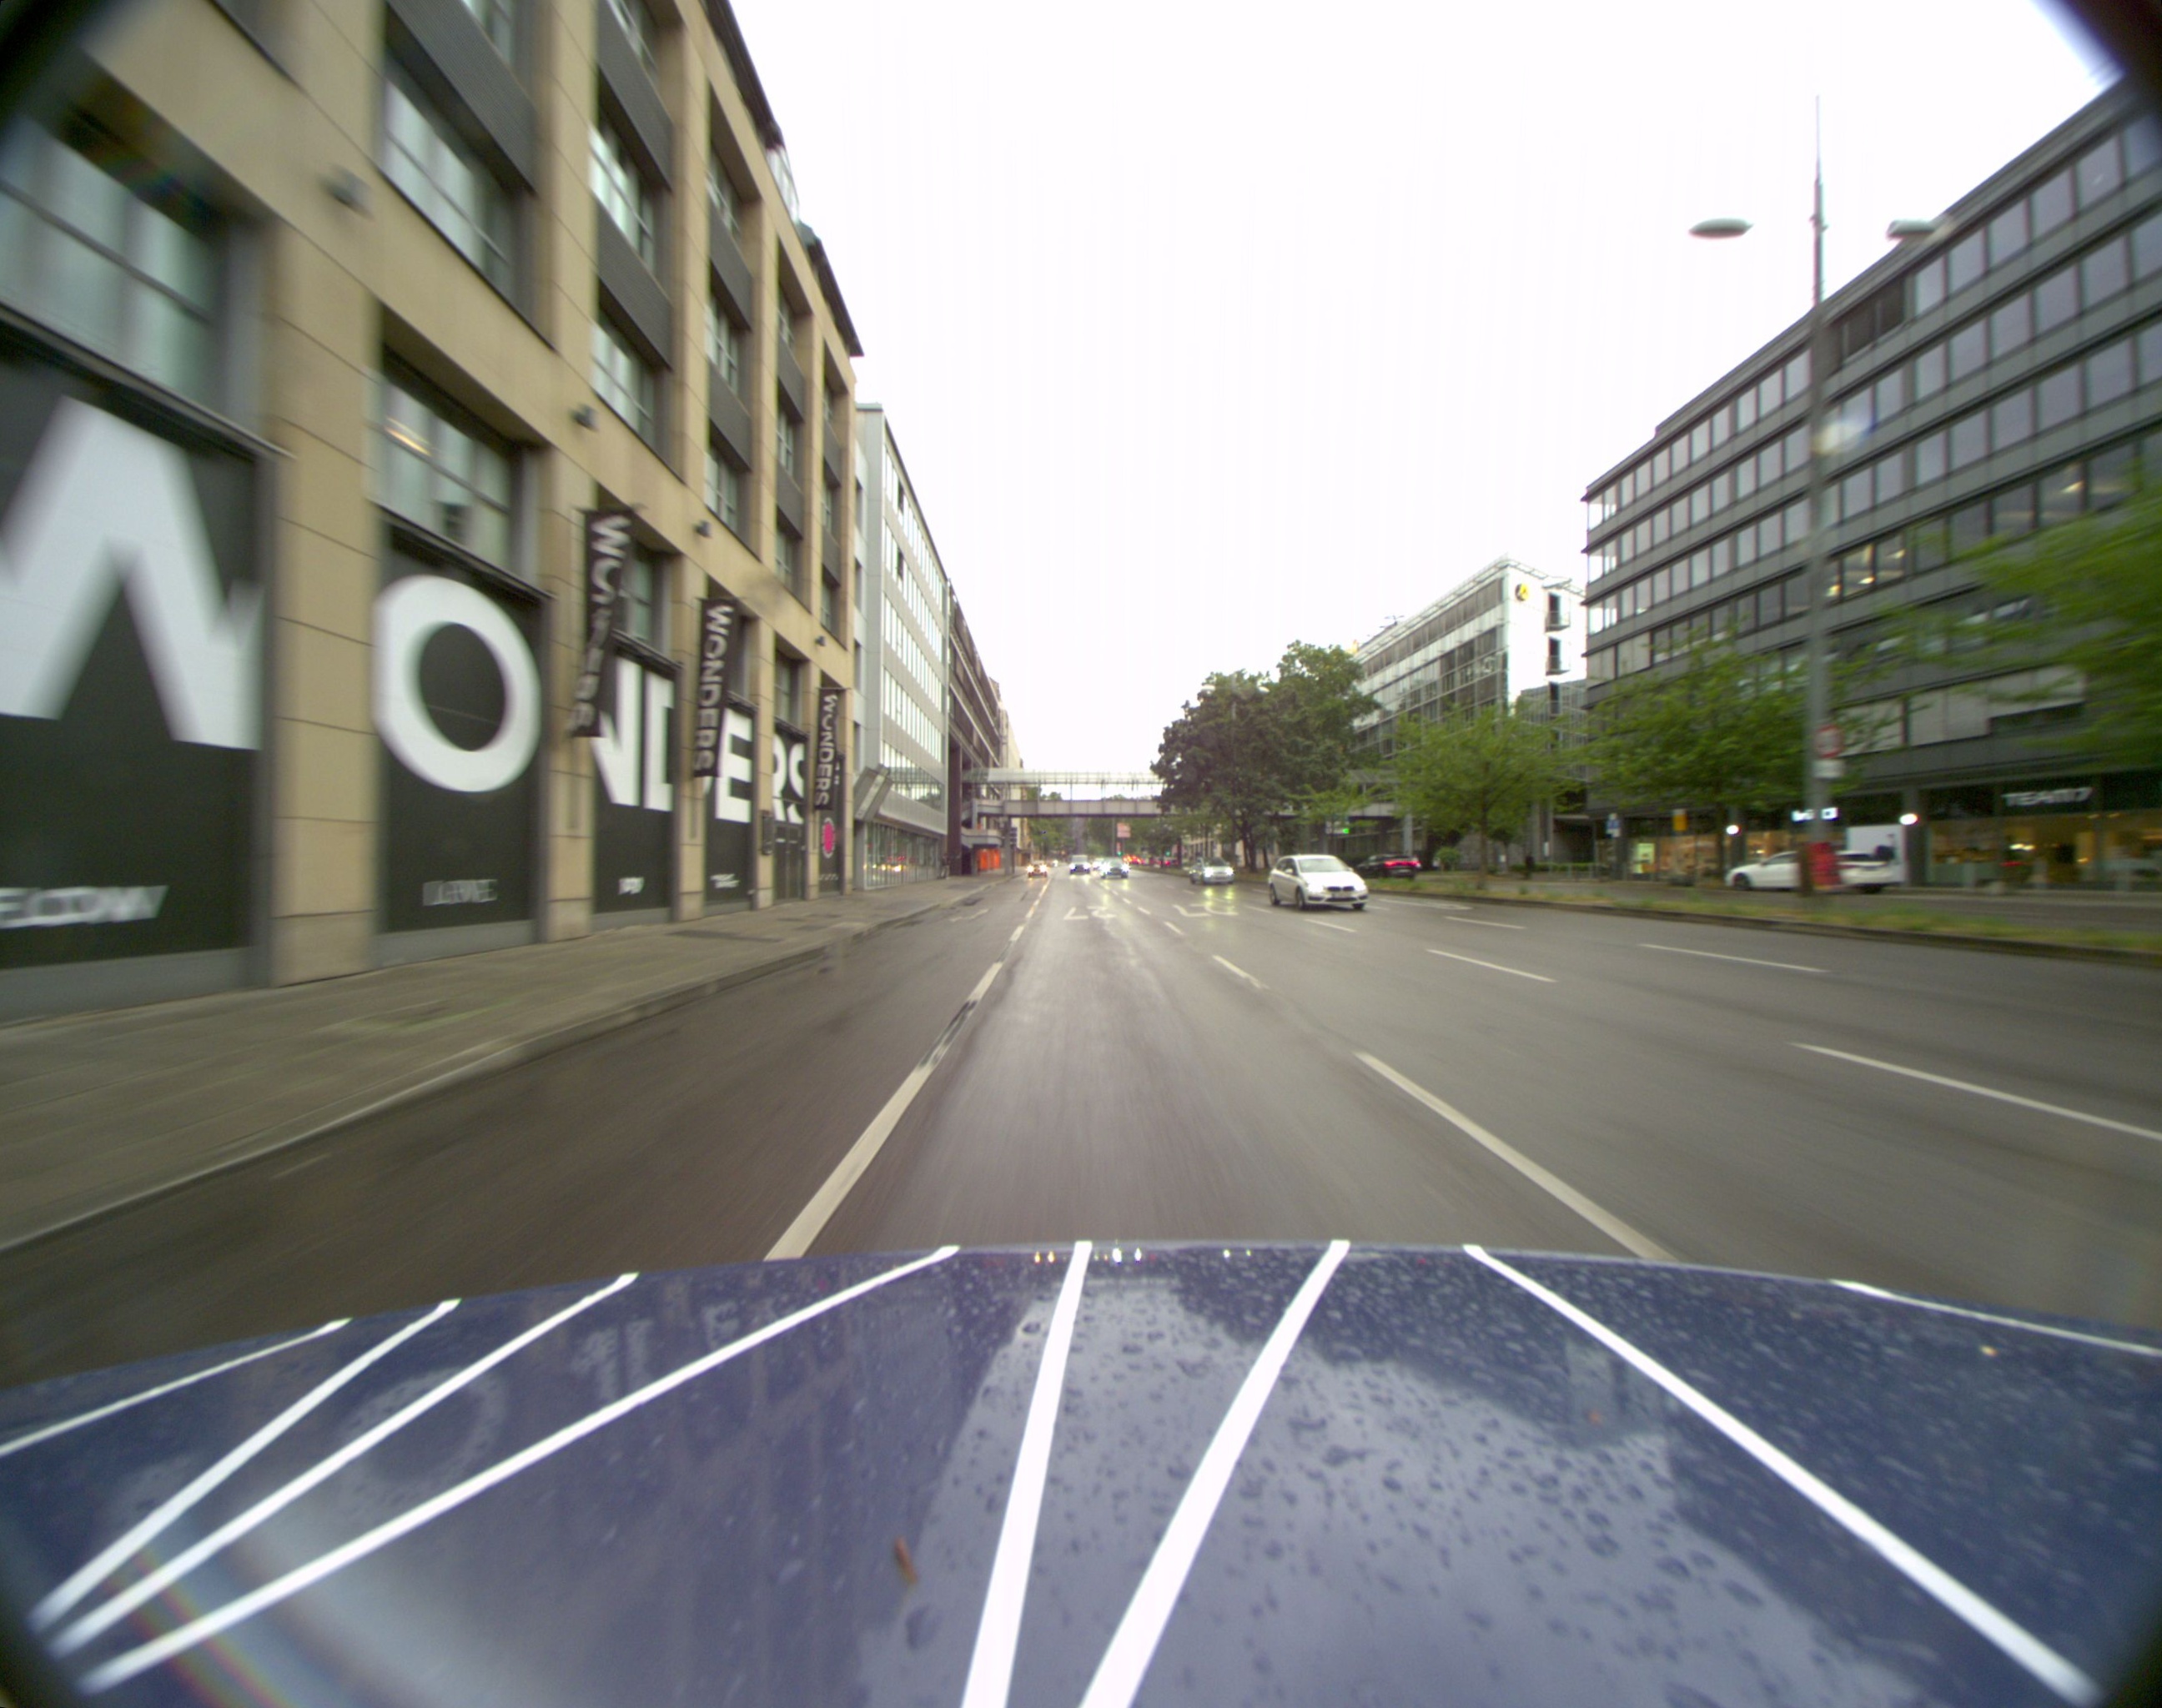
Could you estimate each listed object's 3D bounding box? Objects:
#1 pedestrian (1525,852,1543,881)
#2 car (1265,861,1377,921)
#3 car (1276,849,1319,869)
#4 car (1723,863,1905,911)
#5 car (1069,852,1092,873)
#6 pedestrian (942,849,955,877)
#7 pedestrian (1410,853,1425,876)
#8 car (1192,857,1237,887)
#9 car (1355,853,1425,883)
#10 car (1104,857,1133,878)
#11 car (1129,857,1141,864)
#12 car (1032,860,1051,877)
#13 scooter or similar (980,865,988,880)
[{"bbox_3d":[29.270,0.795,49.080,0.765,1.806,0.728,-1,1,-27],"label":"pedestrian"},{"bbox_3d":[6.902,1.014,22.328,1.788,1.564,4.287,-1,0,-2],"label":"car"},{"bbox_3d":[16.312,0.416,57.439,1.732,1.425,4.312,-1,0,-3],"label":"car"},{"bbox_3d":[24.580,1.048,25.740,1.814,1.436,4.308,-2,0,-4],"label":"car"},{"bbox_3d":[-0.136,0.858,76.020,2.163,2.014,5.041,-1,0,-1],"label":"car"},{"bbox_3d":[-8.920,0.591,51.149,0.729,1.822,0.764,-1,1,-1],"label":"pedestrian"},{"bbox_3d":[27.769,0.850,62.689,0.729,1.822,0.925,-2,0,-1],"label":"pedestrian"},{"bbox_3d":[7.427,0.964,42.475,1.788,1.564,3.691,-1,0,-1],"label":"car"},{"bbox_3d":[17.163,0.754,42.451,1.814,1.507,4.715,-1,1,-3],"label":"car"},{"bbox_3d":[2.709,0.982,56.392,1.941,1.426,4.288,-1,0,0],"label":"car"},{"bbox_3d":[10.022,1.226,141.555,1.732,1.303,4.075,-1,0,-4],"label":"car"},{"bbox_3d":[-3.515,1.258,67.675,1.667,1.464,3.483,-1,0,-2],"label":"car"},{"bbox_3d":[-8.320,1.605,65.055,0.472,1.266,1.306,-1,0,-18],"label":"scooter or similar"}]
